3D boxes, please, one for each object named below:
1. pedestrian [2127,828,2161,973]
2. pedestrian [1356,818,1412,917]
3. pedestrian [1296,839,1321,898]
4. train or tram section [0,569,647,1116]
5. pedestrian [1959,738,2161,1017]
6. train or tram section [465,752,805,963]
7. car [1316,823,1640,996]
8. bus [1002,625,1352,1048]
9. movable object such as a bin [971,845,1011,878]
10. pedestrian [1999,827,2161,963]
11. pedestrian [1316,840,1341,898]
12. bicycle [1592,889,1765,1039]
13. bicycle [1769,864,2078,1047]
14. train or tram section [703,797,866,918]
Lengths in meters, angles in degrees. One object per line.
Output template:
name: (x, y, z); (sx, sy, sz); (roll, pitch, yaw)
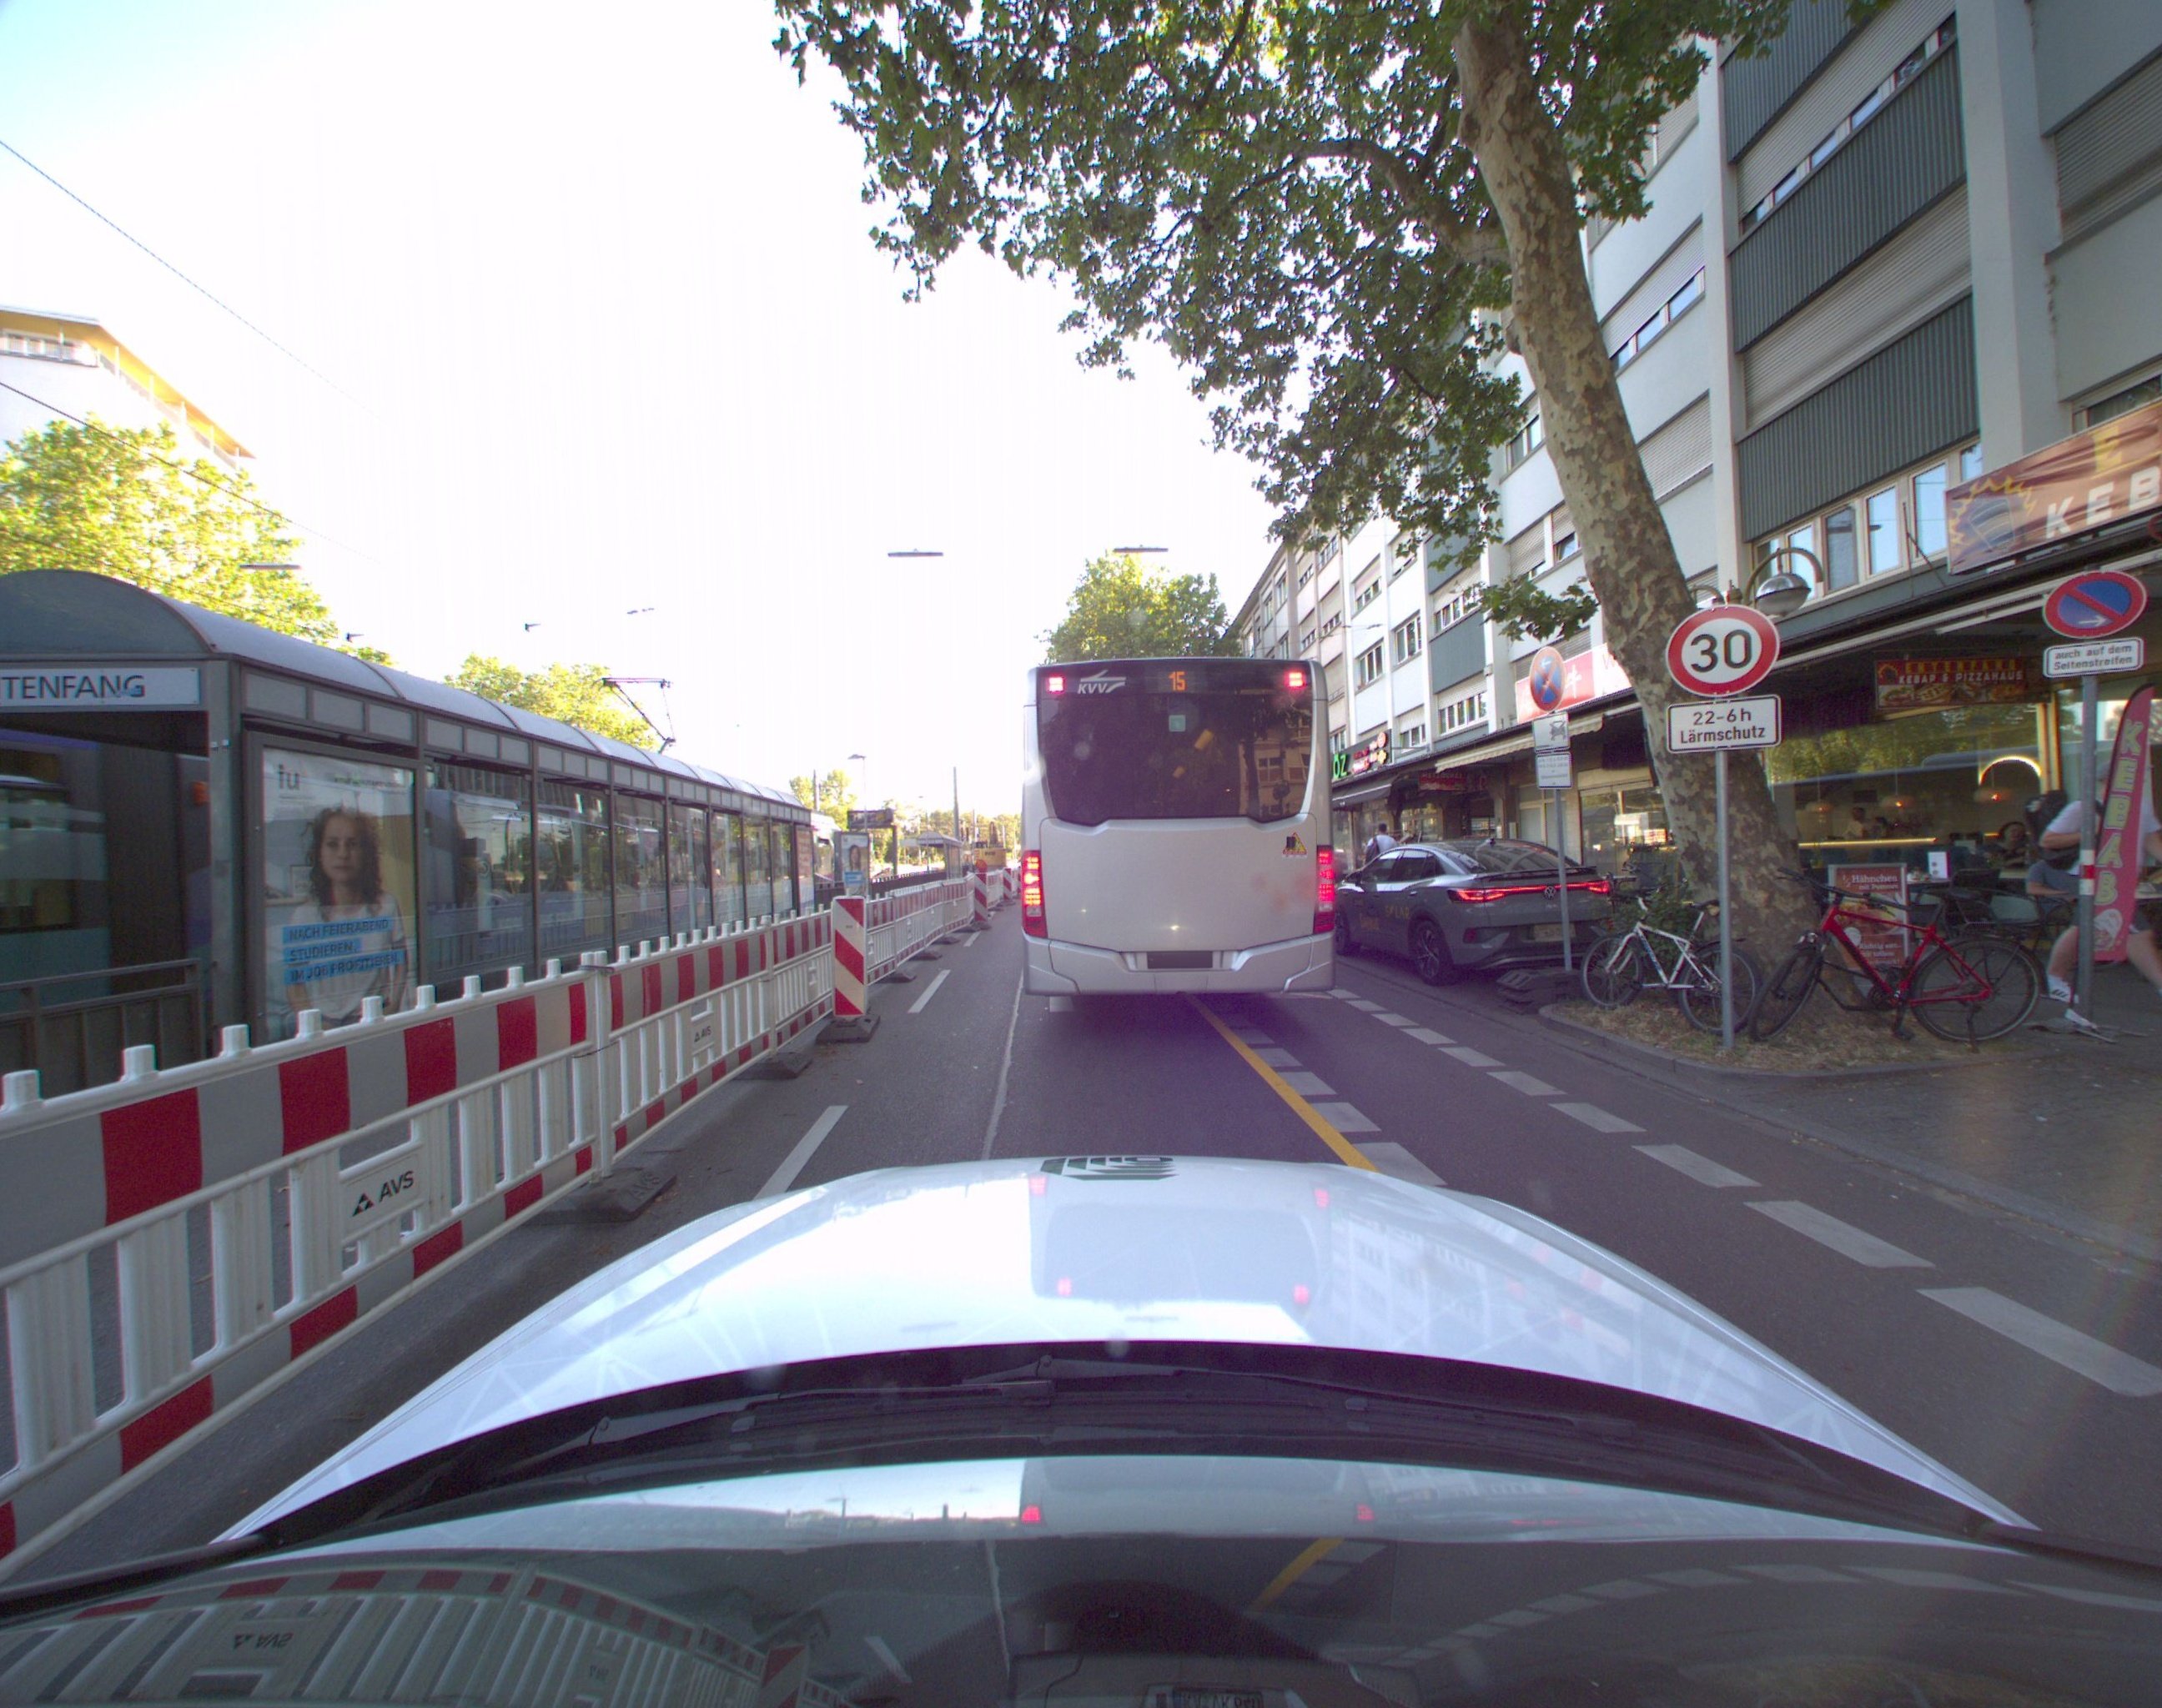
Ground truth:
pedestrian: (9.565, 0.386, 6.808); (0.612, 1.243, 0.714); (-5, -1, 11)
pedestrian: (6.422, 0.282, 17.275); (0.768, 2.013, 0.712); (-3, -1, -5)
pedestrian: (8.002, 0.507, 28.670); (0.687, 2.014, 0.697); (-2, -1, 4)
train or tram section: (-8.557, -0.014, 8.672); (2.865, 3.487, 10.323); (-2, 0, -4)
pedestrian: (7.721, 0.144, 6.093); (1.018, 1.890, 1.123); (-2, -1, 1)
train or tram section: (-9.252, 0.079, 18.901); (2.830, 3.487, 10.322); (-2, 0, -4)
car: (4.593, 0.560, 10.271); (1.736, 1.597, 4.294); (-4, 0, -3)
bus: (0.922, -0.126, 11.359); (2.598, 3.170, 10.297); (-1, 0, 2)
movable object such as a bin: (-7.039, 0.599, 64.005); (2.800, 2.462, 3.995); (-2, 0, -3)
pedestrian: (9.628, 0.382, 7.845); (0.673, 1.203, 0.706); (-5, -1, 11)
pedestrian: (8.717, 0.519, 28.733); (0.610, 2.014, 0.696); (-2, -1, 1)
bicycle: (4.485, 0.783, 6.186); (0.294, 0.927, 1.127); (-6, 2, -8)
bicycle: (5.498, 0.671, 5.367); (1.450, 1.066, 0.297); (-6, 2, 13)
train or tram section: (-10.106, 0.146, 29.197); (2.812, 3.487, 10.320); (-2, 0, -5)
